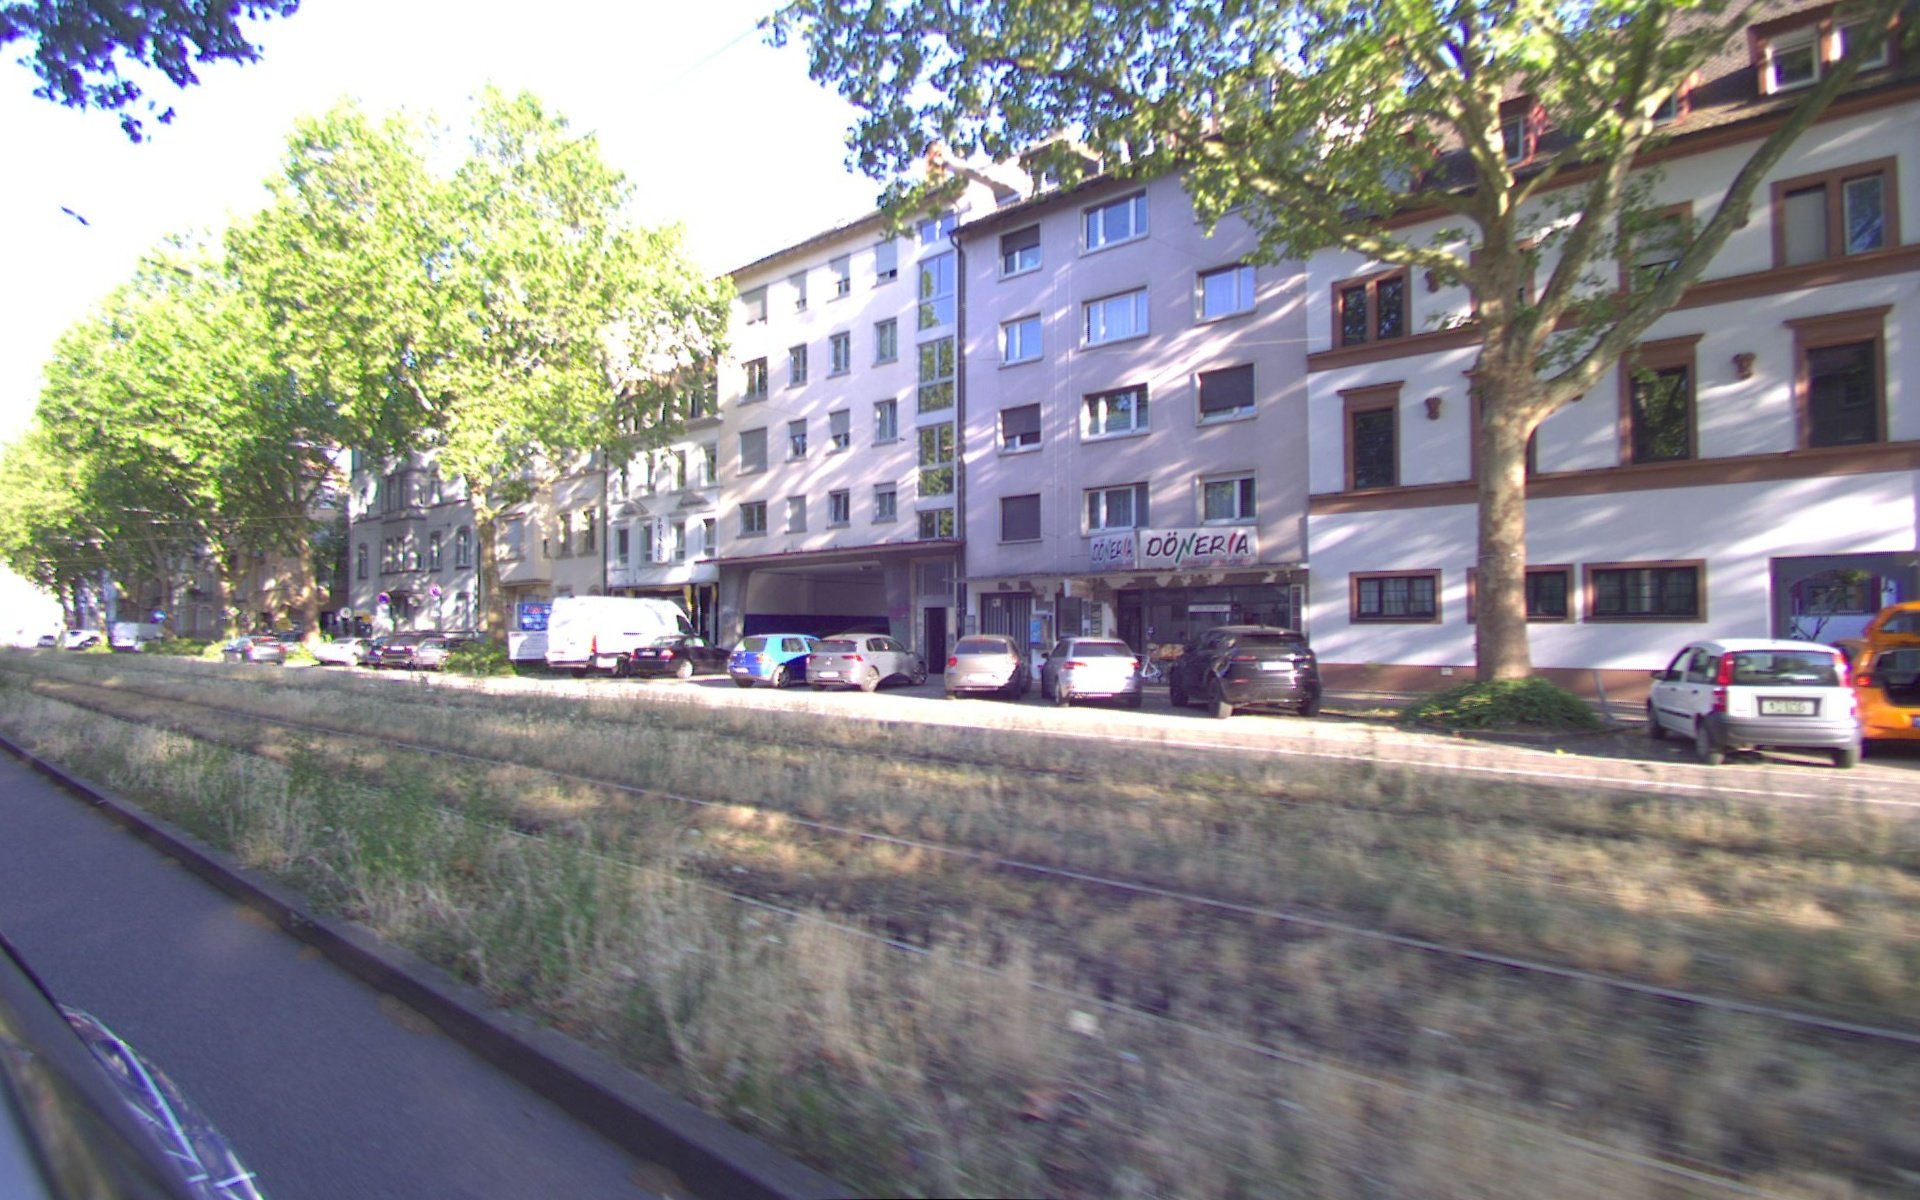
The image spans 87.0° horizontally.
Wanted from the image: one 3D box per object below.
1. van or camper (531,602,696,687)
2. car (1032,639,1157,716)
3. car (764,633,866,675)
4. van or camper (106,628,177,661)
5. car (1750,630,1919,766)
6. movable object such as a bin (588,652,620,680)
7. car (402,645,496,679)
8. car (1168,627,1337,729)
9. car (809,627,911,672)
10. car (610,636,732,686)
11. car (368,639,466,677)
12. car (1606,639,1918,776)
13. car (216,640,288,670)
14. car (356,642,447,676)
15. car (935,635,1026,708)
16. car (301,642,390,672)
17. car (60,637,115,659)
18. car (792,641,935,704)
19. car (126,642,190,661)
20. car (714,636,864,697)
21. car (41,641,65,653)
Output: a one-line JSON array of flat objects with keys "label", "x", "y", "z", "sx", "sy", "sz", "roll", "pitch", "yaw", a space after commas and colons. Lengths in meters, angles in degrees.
[{"label": "van or camper", "x": -11.759, "y": 1.507, "z": 34.922, "sx": 2.163, "sy": 2.666, "sz": 5.927, "roll": -1, "pitch": -2, "yaw": 20}, {"label": "car", "x": 2.771, "y": 1.585, "z": 21.750, "sx": 1.884, "sy": 1.396, "sz": 4.003, "roll": -1, "pitch": -1, "yaw": -4}, {"label": "car", "x": -6.086, "y": 2.218, "z": 42.689, "sx": 1.998, "sy": 1.553, "sz": 3.947, "roll": -2, "pitch": -1, "yaw": 39}, {"label": "van or camper", "x": -66.307, "y": 3.557, "z": 82.115, "sx": 2.171, "sy": 2.418, "sz": 4.362, "roll": -1, "pitch": 0, "yaw": 1}, {"label": "car", "x": 12.589, "y": 1.218, "z": 13.753, "sx": 1.764, "sy": 1.490, "sz": 3.972, "roll": -1, "pitch": 0, "yaw": 21}, {"label": "movable object such as a bin", "x": -13.195, "y": 2.449, "z": 37.528, "sx": 0.865, "sy": 1.030, "sz": 0.734, "roll": -1, "pitch": -3, "yaw": 29}, {"label": "car", "x": -21.595, "y": 2.606, "z": 42.949, "sx": 1.779, "sy": 1.368, "sz": 4.001, "roll": 0, "pitch": -3, "yaw": 4}, {"label": "car", "x": 5.352, "y": 1.371, "z": 19.092, "sx": 1.972, "sy": 1.673, "sz": 3.999, "roll": -1, "pitch": -2, "yaw": 0}, {"label": "car", "x": -3.994, "y": 1.971, "z": 40.932, "sx": 1.904, "sy": 1.733, "sz": 3.946, "roll": -2, "pitch": -3, "yaw": 40}, {"label": "car", "x": -9.485, "y": 1.984, "z": 33.567, "sx": 1.985, "sy": 1.502, "sz": 3.974, "roll": -1, "pitch": -2, "yaw": 19}, {"label": "car", "x": -24.090, "y": 2.604, "z": 45.091, "sx": 1.912, "sy": 1.605, "sz": 4.154, "roll": 0, "pitch": -4, "yaw": 4}, {"label": "car", "x": 10.486, "y": 1.292, "z": 13.688, "sx": 1.643, "sy": 1.460, "sz": 4.343, "roll": -1, "pitch": -1, "yaw": 14}, {"label": "car", "x": -35.012, "y": 2.718, "z": 50.021, "sx": 4.481, "sy": 1.400, "sz": 1.801, "roll": -2, "pitch": -5, "yaw": 41}, {"label": "car", "x": -26.247, "y": 2.812, "z": 47.752, "sx": 1.803, "sy": 1.545, "sz": 3.993, "roll": 0, "pitch": -4, "yaw": 5}, {"label": "car", "x": 0.569, "y": 1.619, "z": 23.820, "sx": 1.735, "sy": 1.433, "sz": 3.991, "roll": -1, "pitch": 0, "yaw": 7}, {"label": "car", "x": -30.271, "y": 2.800, "z": 49.987, "sx": 1.806, "sy": 1.400, "sz": 3.669, "roll": -1, "pitch": -2, "yaw": 10}, {"label": "car", "x": -85.044, "y": 4.658, "z": 98.674, "sx": 1.971, "sy": 2.029, "sz": 4.001, "roll": -1, "pitch": 0, "yaw": -1}, {"label": "car", "x": -2.450, "y": 1.842, "z": 26.631, "sx": 1.941, "sy": 1.503, "sz": 3.962, "roll": -1, "pitch": -3, "yaw": 27}, {"label": "car", "x": -64.019, "y": 4.074, "z": 80.870, "sx": 1.710, "sy": 1.256, "sz": 3.992, "roll": -1, "pitch": 1, "yaw": 7}, {"label": "car", "x": -4.717, "y": 1.800, "z": 28.375, "sx": 1.855, "sy": 1.431, "sz": 3.950, "roll": -2, "pitch": -1, "yaw": 37}, {"label": "car", "x": -118.741, "y": 6.173, "z": 132.489, "sx": 4.000, "sy": 1.431, "sz": 1.972, "roll": -2, "pitch": -1, "yaw": 43}]
